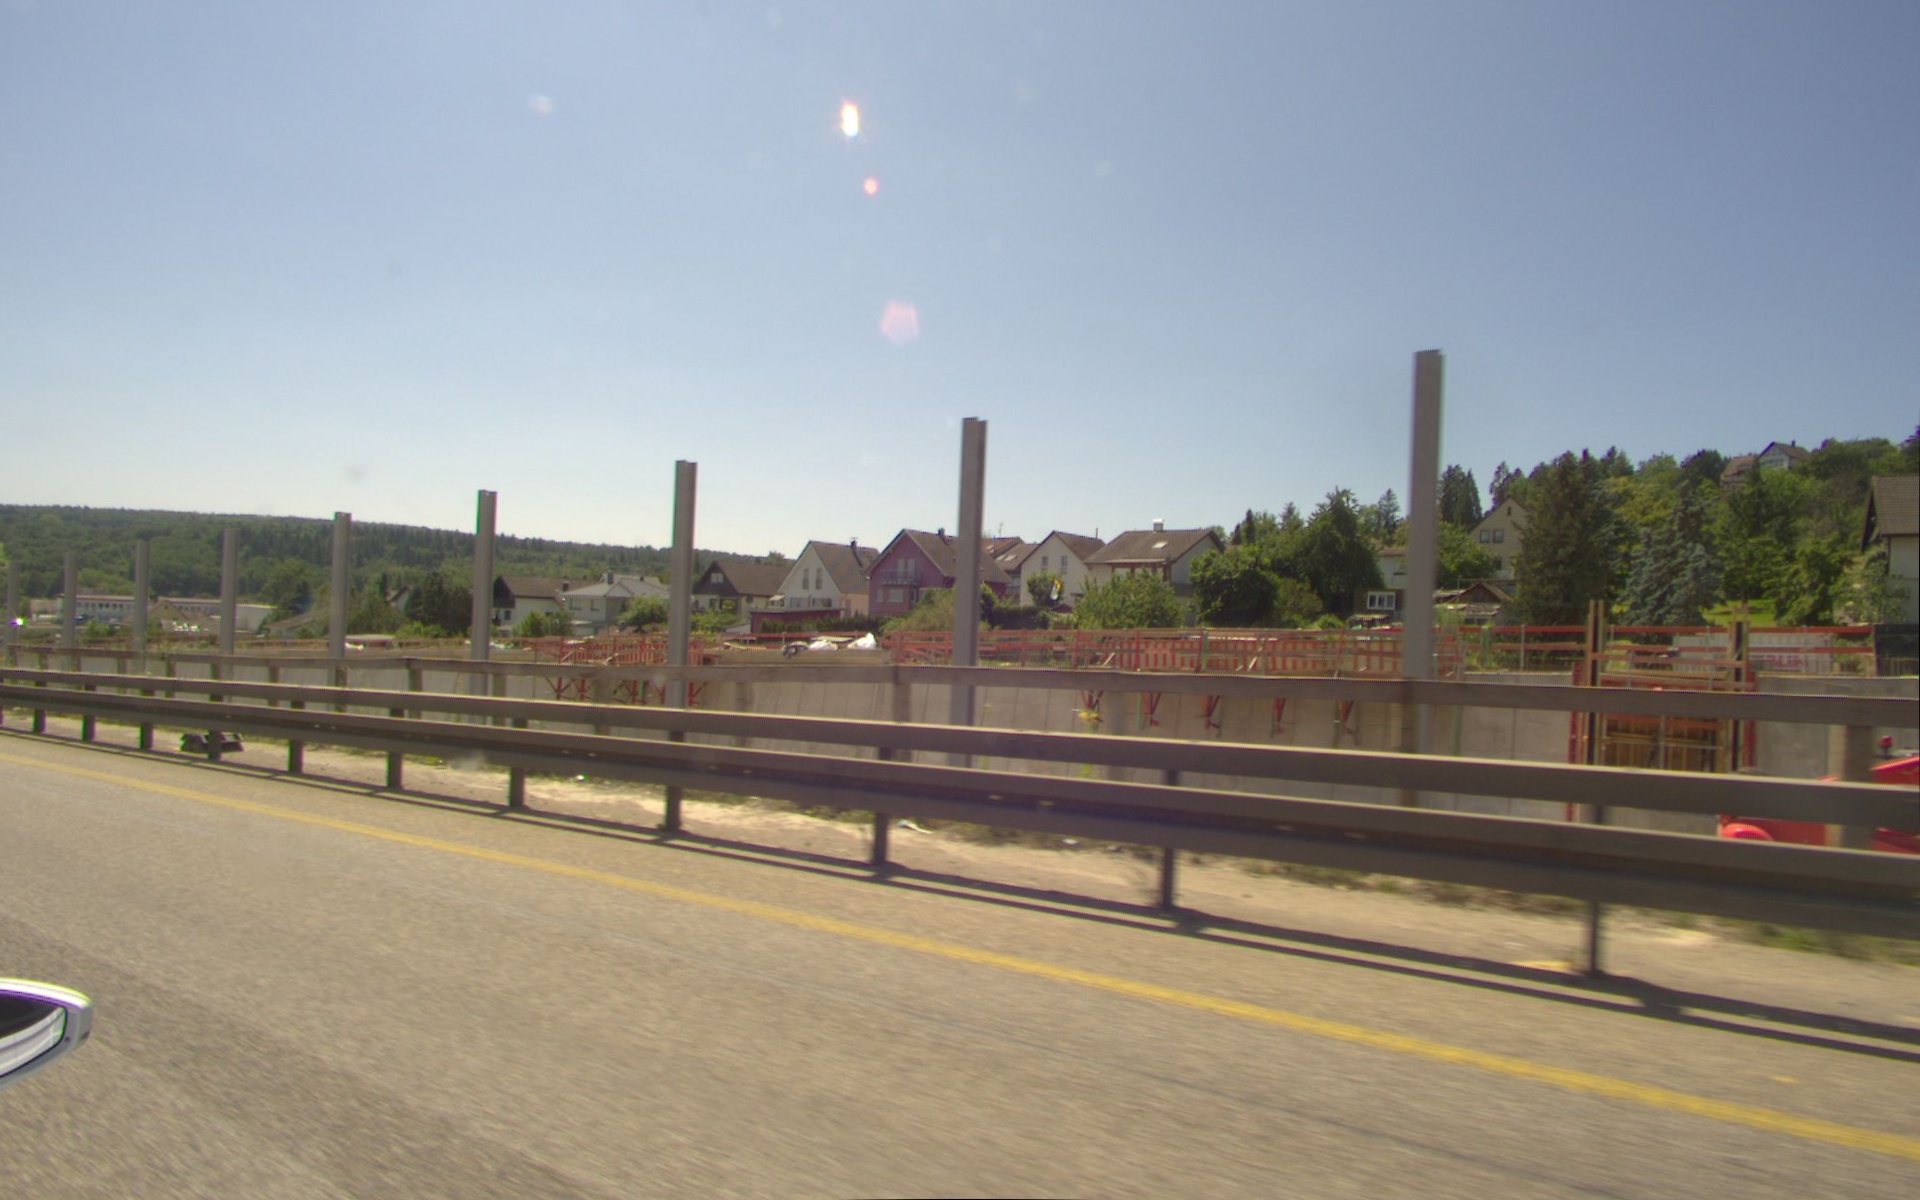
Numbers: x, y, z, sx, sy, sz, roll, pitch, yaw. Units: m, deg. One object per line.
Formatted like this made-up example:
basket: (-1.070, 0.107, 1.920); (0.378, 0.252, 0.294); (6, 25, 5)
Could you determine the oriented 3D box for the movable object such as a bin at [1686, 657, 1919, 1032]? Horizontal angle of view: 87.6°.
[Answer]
movable object such as a bin: (15.522, 3.165, 13.007); (9.519, 4.802, 3.222); (-2, -2, 32)
